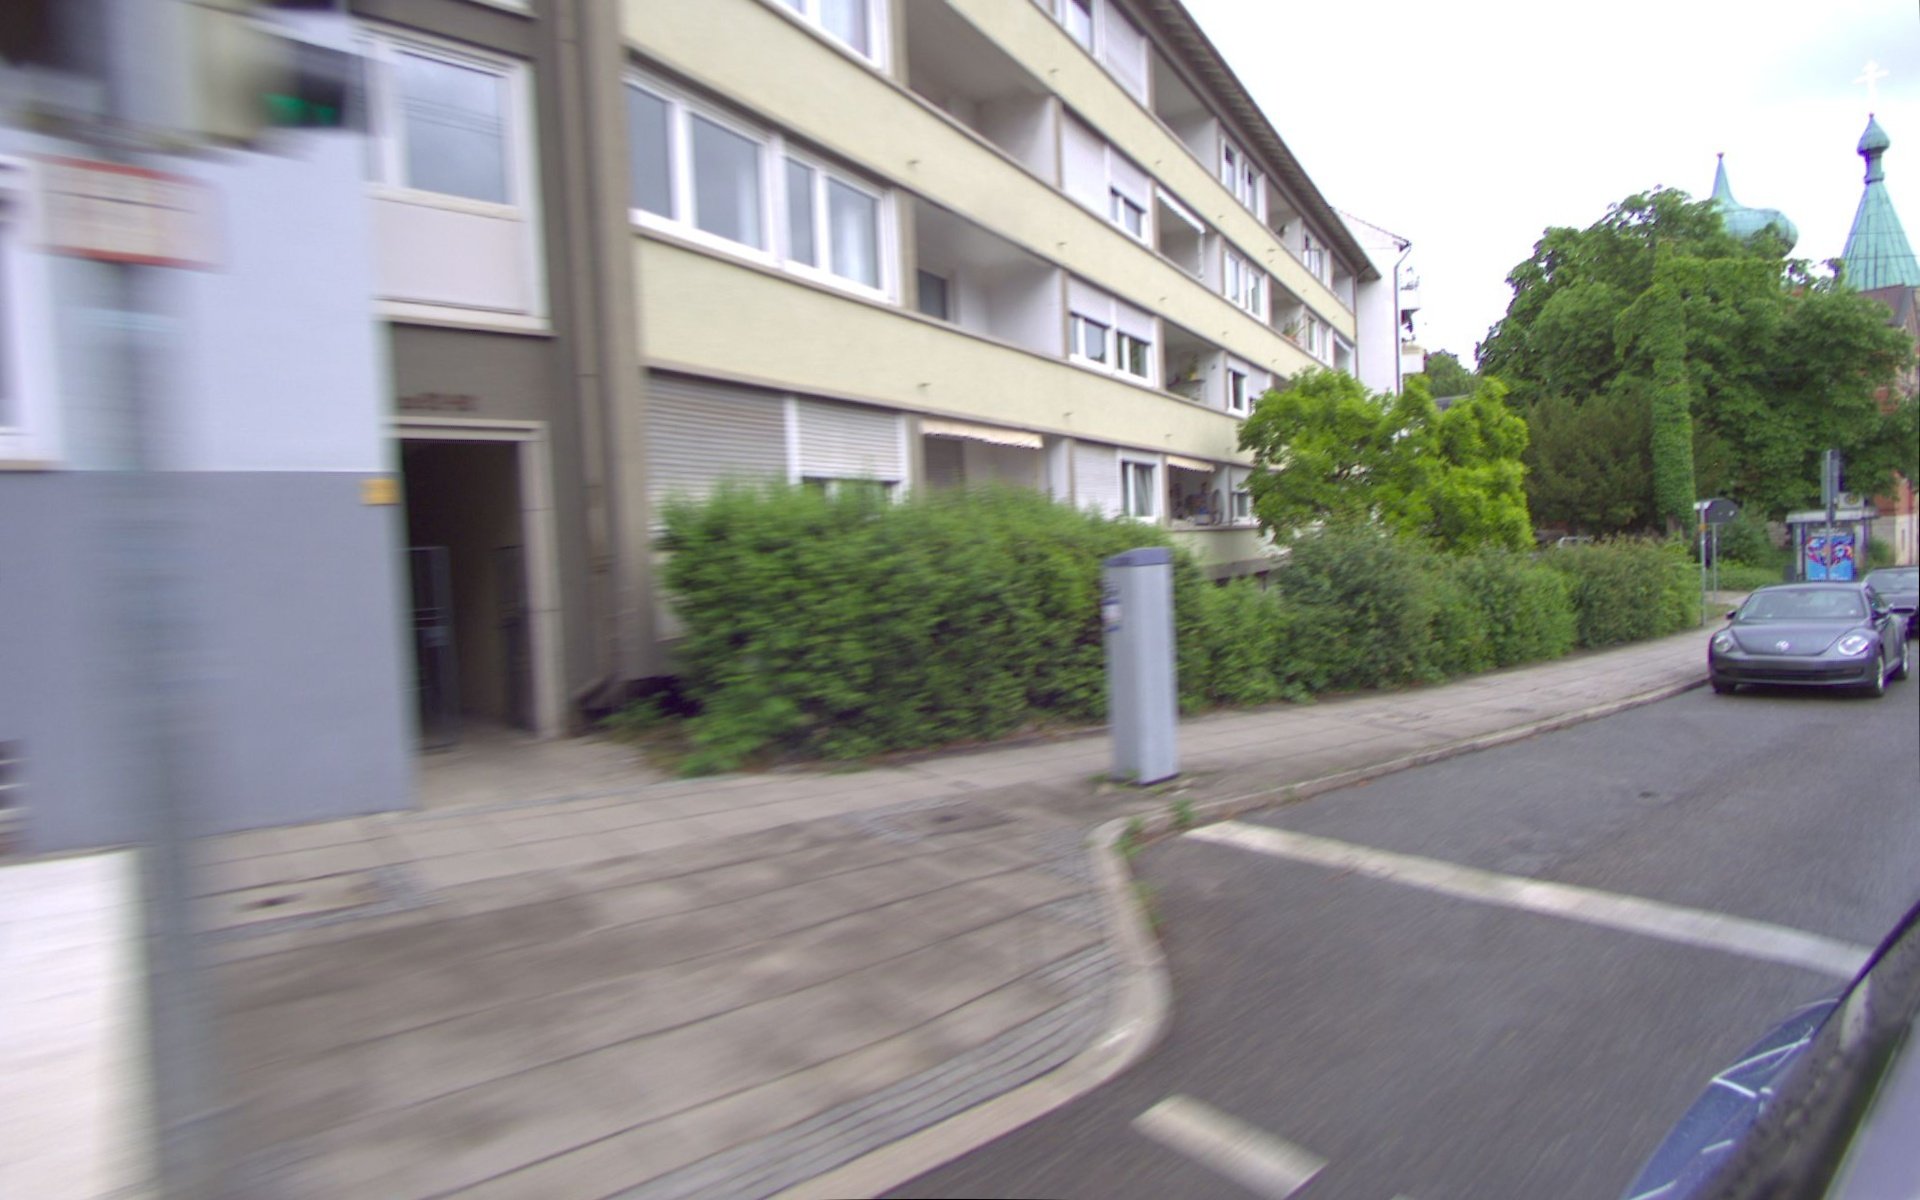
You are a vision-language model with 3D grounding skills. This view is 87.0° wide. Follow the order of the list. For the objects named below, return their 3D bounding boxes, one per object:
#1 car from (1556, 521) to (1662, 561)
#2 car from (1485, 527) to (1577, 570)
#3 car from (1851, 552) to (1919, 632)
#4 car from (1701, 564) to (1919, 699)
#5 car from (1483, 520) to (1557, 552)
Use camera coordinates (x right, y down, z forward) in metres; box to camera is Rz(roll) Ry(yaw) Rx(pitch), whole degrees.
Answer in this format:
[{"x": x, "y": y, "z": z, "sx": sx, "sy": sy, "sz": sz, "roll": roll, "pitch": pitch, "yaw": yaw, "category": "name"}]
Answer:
[{"x": 28.399, "y": -2.560, "z": 44.477, "sx": 1.808, "sy": 1.577, "sz": 4.386, "roll": -3, "pitch": 3, "yaw": 1, "category": "car"}, {"x": 25.316, "y": -2.280, "z": 45.059, "sx": 1.808, "sy": 1.715, "sz": 4.201, "roll": -3, "pitch": 2, "yaw": 3, "category": "car"}, {"x": 20.786, "y": -0.236, "z": 21.787, "sx": 4.567, "sy": 1.505, "sz": 1.860, "roll": -4, "pitch": 2, "yaw": -42, "category": "car"}, {"x": 12.130, "y": 0.336, "z": 14.258, "sx": 4.137, "sy": 1.482, "sz": 1.942, "roll": -4, "pitch": 2, "yaw": -42, "category": "car"}, {"x": 30.087, "y": -3.413, "z": 54.518, "sx": 1.808, "sy": 1.583, "sz": 3.995, "roll": -3, "pitch": 3, "yaw": 3, "category": "car"}]
